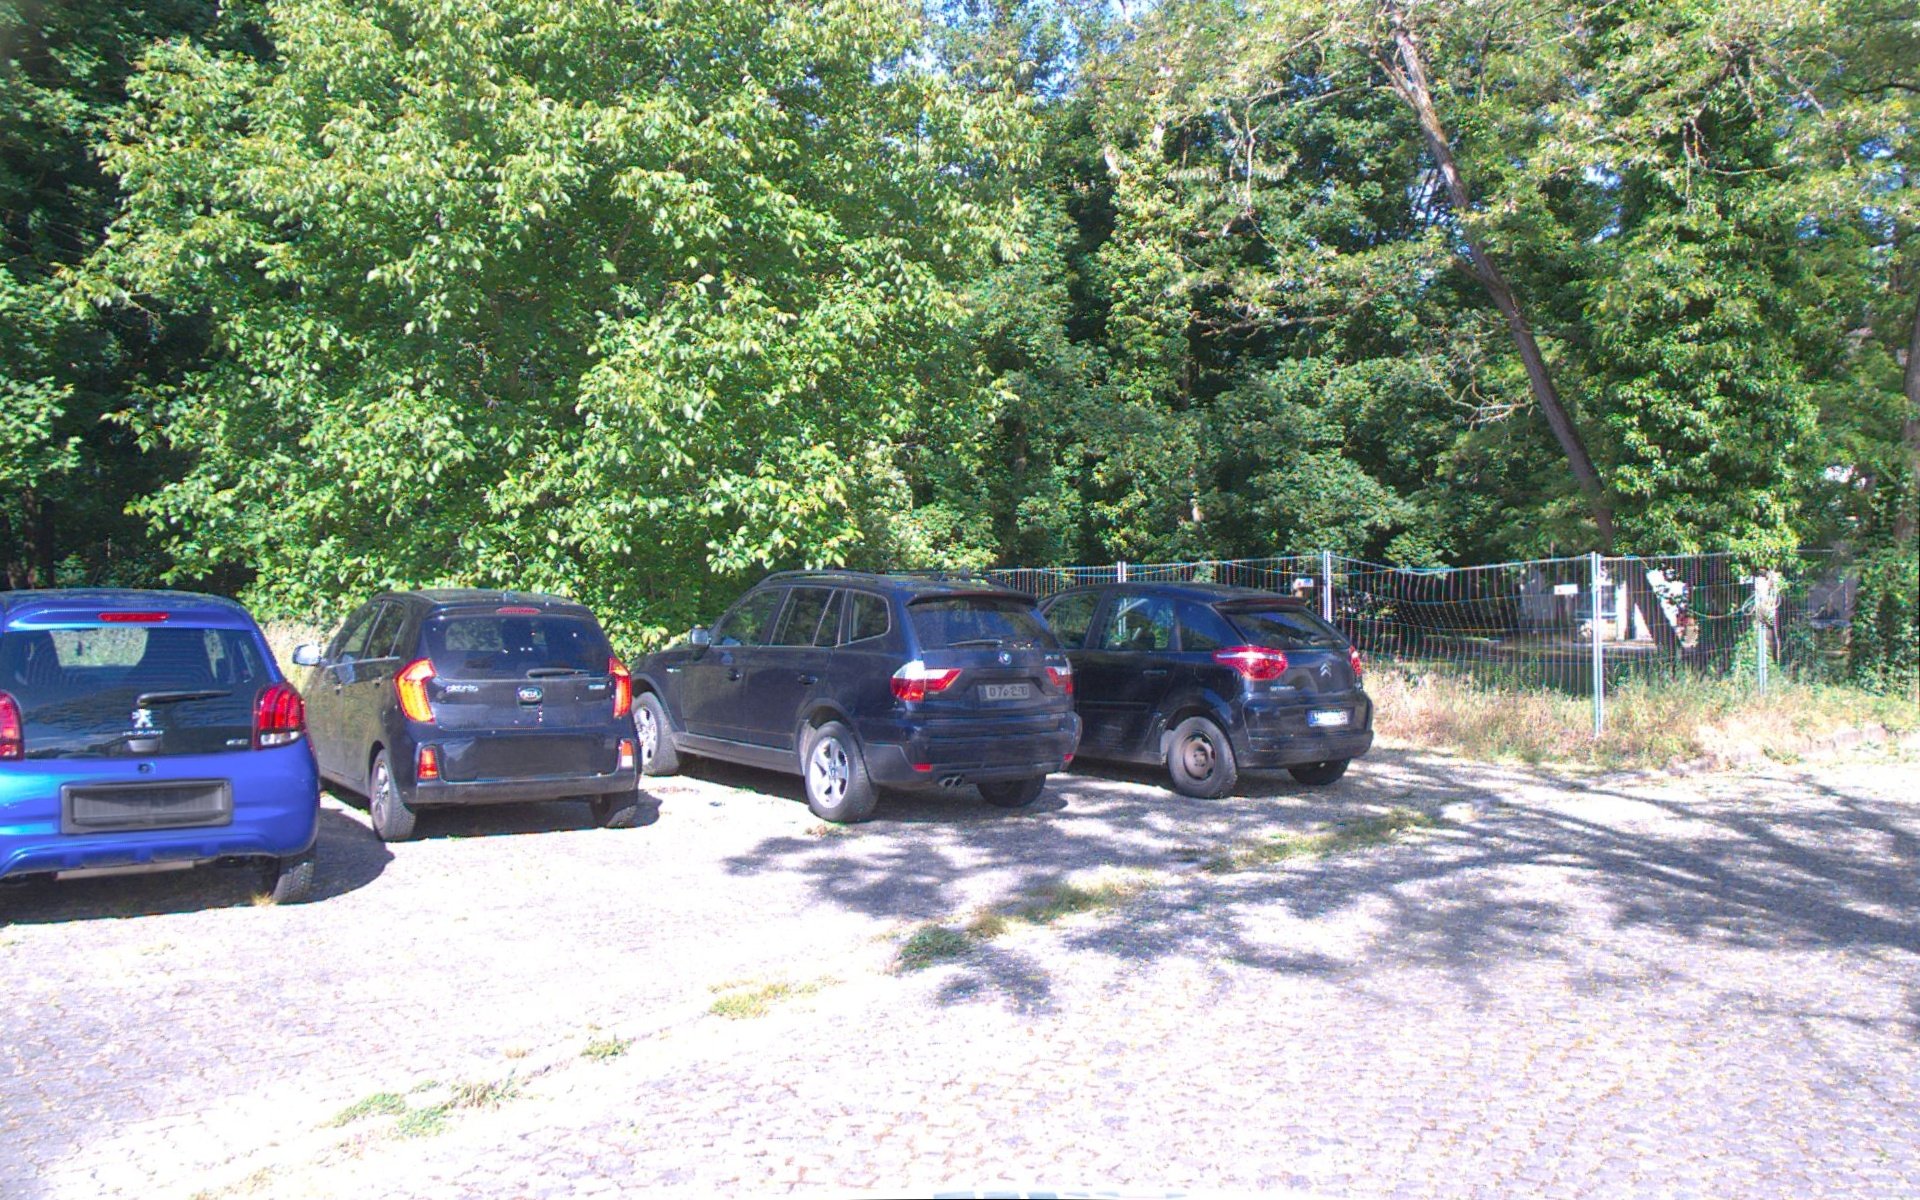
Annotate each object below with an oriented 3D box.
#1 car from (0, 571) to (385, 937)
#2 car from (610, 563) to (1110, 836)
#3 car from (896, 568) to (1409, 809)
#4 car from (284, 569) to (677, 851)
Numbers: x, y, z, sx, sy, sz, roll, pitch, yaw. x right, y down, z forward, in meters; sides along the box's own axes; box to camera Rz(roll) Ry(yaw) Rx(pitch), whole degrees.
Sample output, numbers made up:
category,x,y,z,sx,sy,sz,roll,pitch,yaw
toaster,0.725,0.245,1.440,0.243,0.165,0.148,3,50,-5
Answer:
category,x,y,z,sx,sy,sz,roll,pitch,yaw
car,-4.431,0.627,8.777,1.694,1.519,3.619,1,0,-35
car,-0.925,0.590,12.626,1.799,1.685,4.134,0,1,-38
car,1.543,0.627,14.406,4.229,1.680,1.781,3,2,45
car,-3.388,0.613,11.260,1.657,1.542,3.513,2,1,-32
